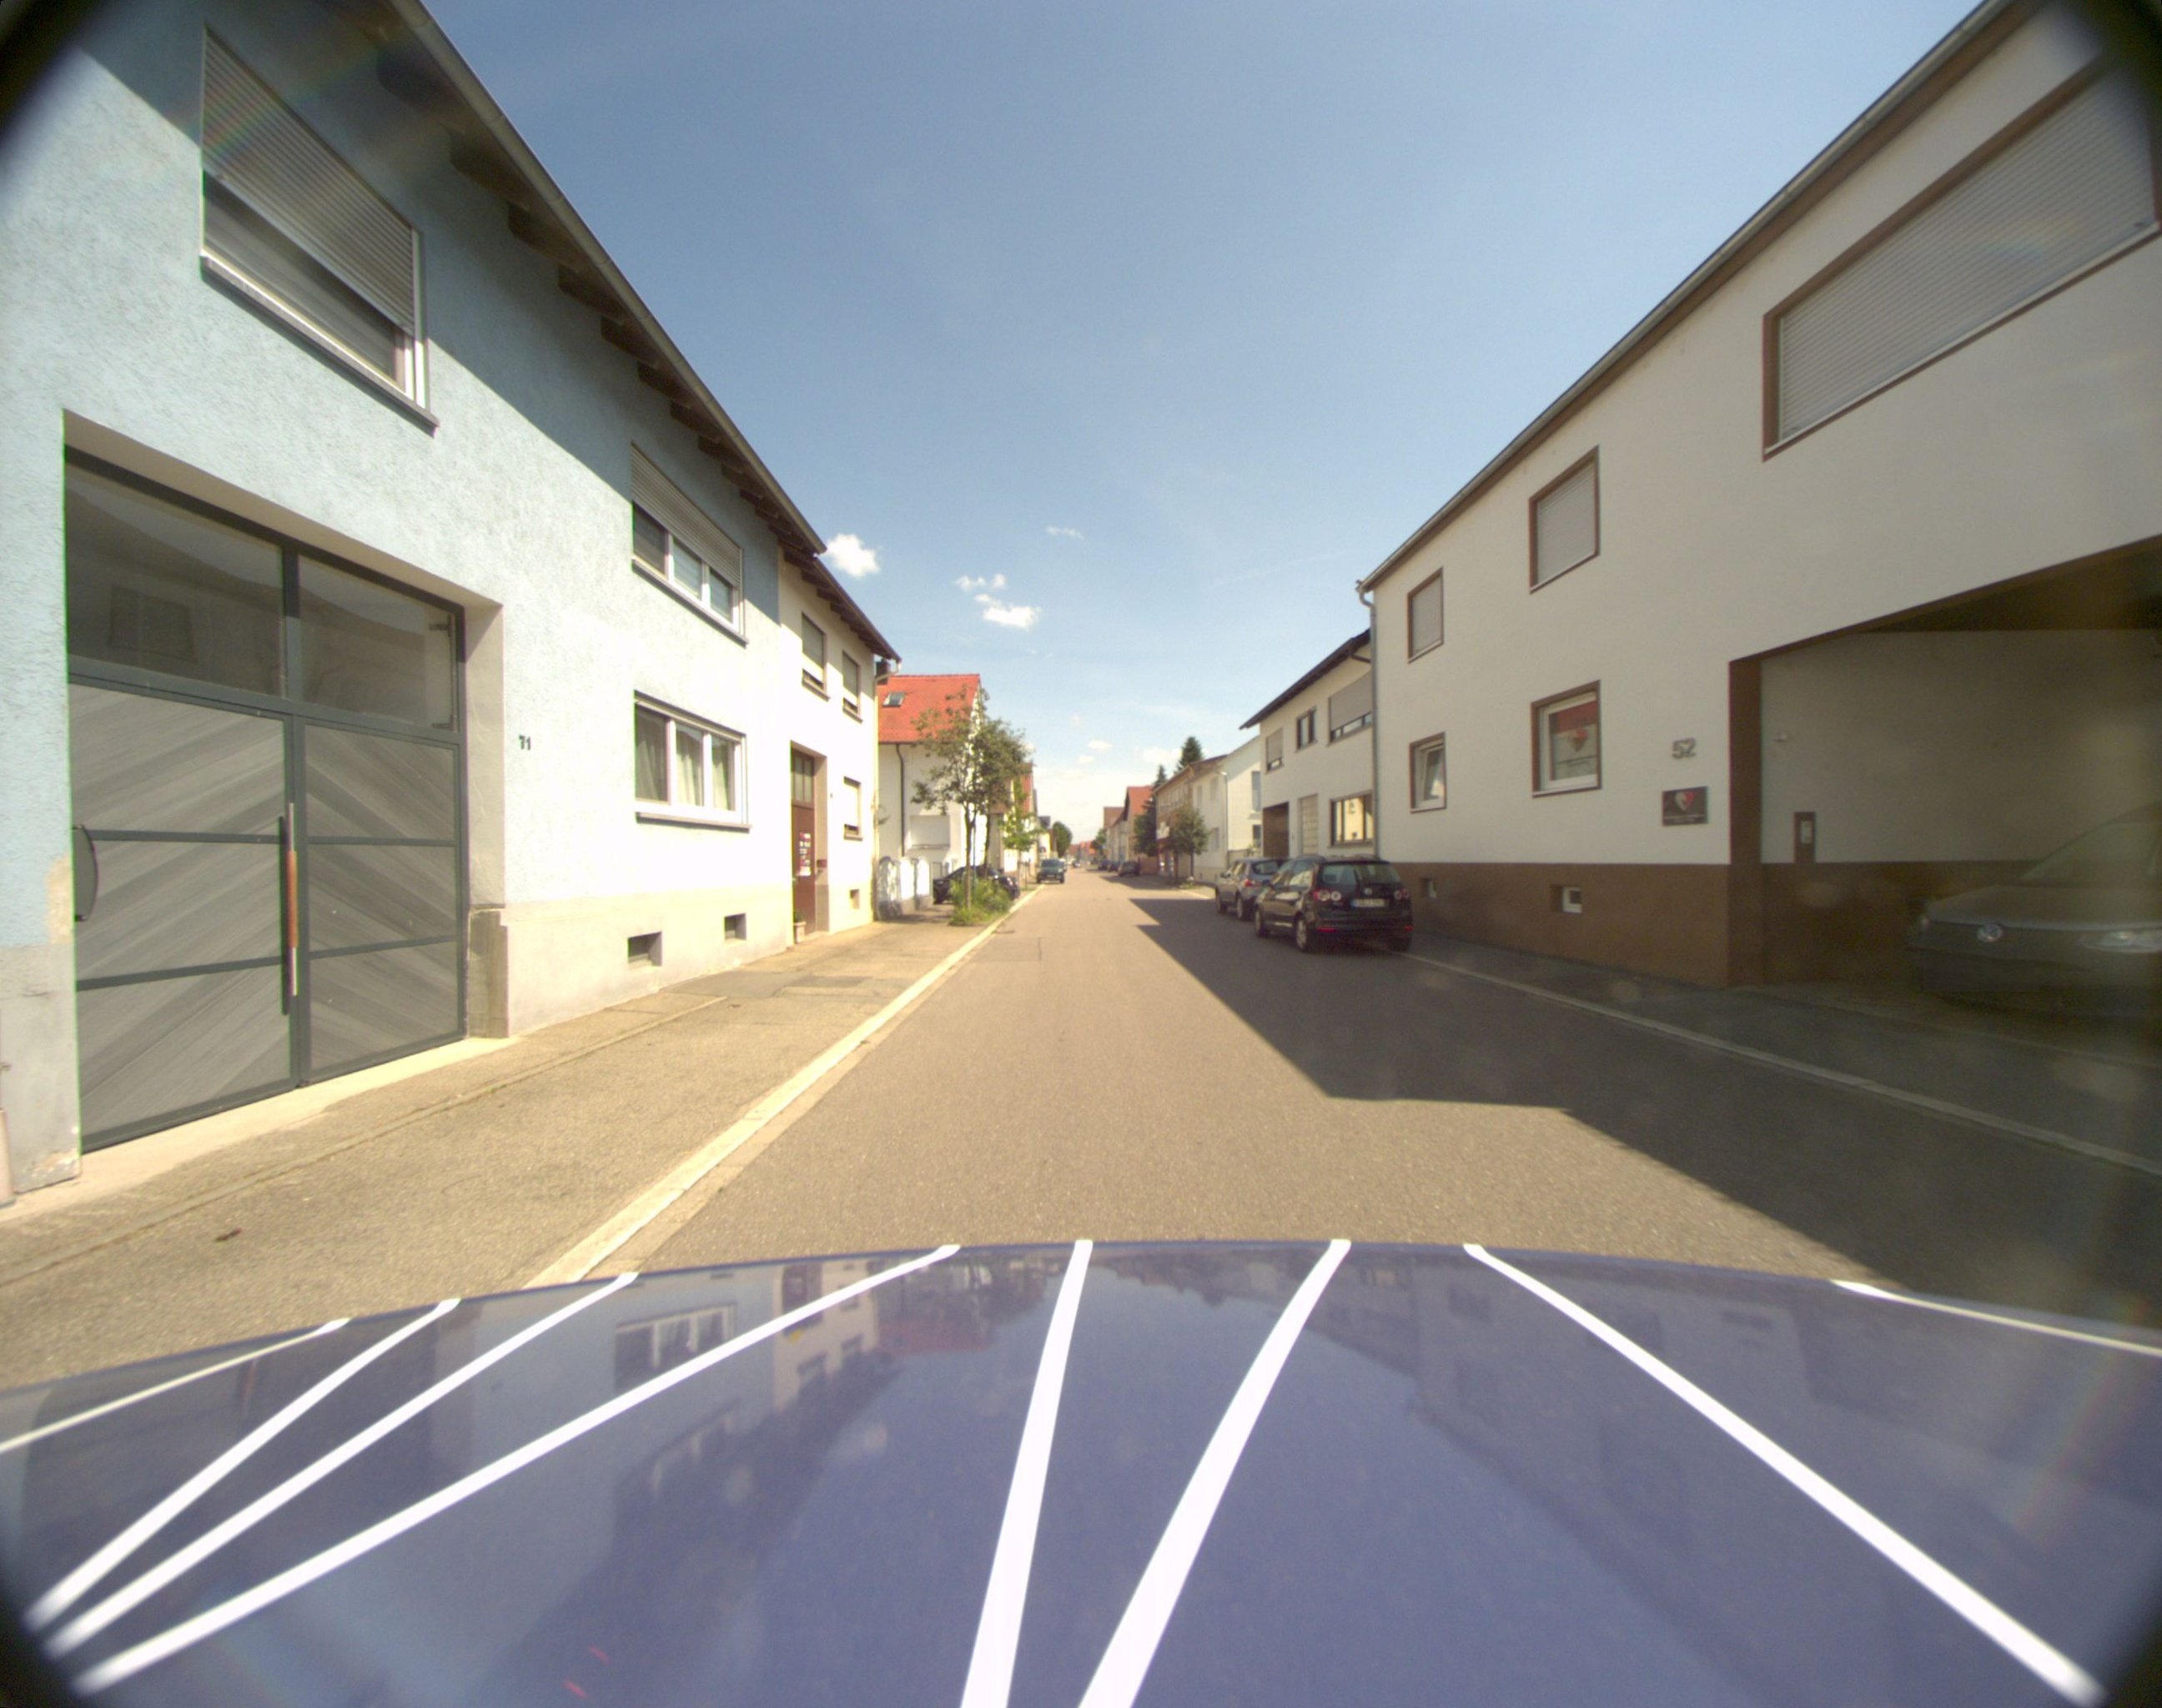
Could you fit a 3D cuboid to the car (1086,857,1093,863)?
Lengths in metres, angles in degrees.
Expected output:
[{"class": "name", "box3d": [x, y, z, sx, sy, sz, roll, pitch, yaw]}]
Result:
[{"class": "car", "box3d": [2.353, 1.658, 218.512, 1.904, 1.682, 4.000, -1, 0, 1]}]

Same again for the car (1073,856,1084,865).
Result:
[{"class": "car", "box3d": [-0.457, 1.187, 141.349, 1.958, 1.521, 4.000, 0, 0, 0]}]

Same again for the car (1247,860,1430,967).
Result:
[{"class": "car", "box3d": [4.292, 0.906, 13.340, 1.752, 1.557, 3.954, 0, 0, -2]}]

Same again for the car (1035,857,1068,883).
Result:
[{"class": "car", "box3d": [-1.958, 1.044, 51.749, 1.998, 1.696, 4.000, 0, 0, 1]}]

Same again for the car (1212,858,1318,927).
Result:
[{"class": "car", "box3d": [4.701, 0.916, 19.996, 1.758, 1.608, 4.120, 0, 0, -1]}]

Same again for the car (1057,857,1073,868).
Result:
[{"class": "car", "box3d": [-2.072, 1.130, 101.138, 1.958, 1.521, 4.000, 0, 0, 0]}]

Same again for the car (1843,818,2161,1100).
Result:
[{"class": "car", "box3d": [8.554, 0.576, 5.581, 3.997, 1.708, 1.814, -3, 0, 1]}]

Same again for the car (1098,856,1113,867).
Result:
[{"class": "car", "box3d": [3.679, 1.102, 114.429, 1.999, 1.570, 4.000, 0, 0, -1]}]

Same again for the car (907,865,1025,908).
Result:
[{"class": "car", "box3d": [-3.995, 1.118, 26.826, 3.814, 1.420, 1.728, 0, 0, 3]}]

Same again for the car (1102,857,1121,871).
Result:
[{"class": "car", "box3d": [3.608, 1.175, 90.626, 1.855, 1.543, 3.999, 0, 0, -2]}]

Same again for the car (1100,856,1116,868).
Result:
[{"class": "car", "box3d": [3.824, 1.109, 108.575, 1.999, 1.570, 3.999, 0, 0, -2]}]

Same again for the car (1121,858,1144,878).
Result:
[{"class": "car", "box3d": [4.695, 1.254, 69.423, 1.852, 1.688, 4.000, 0, 0, 0]}]
